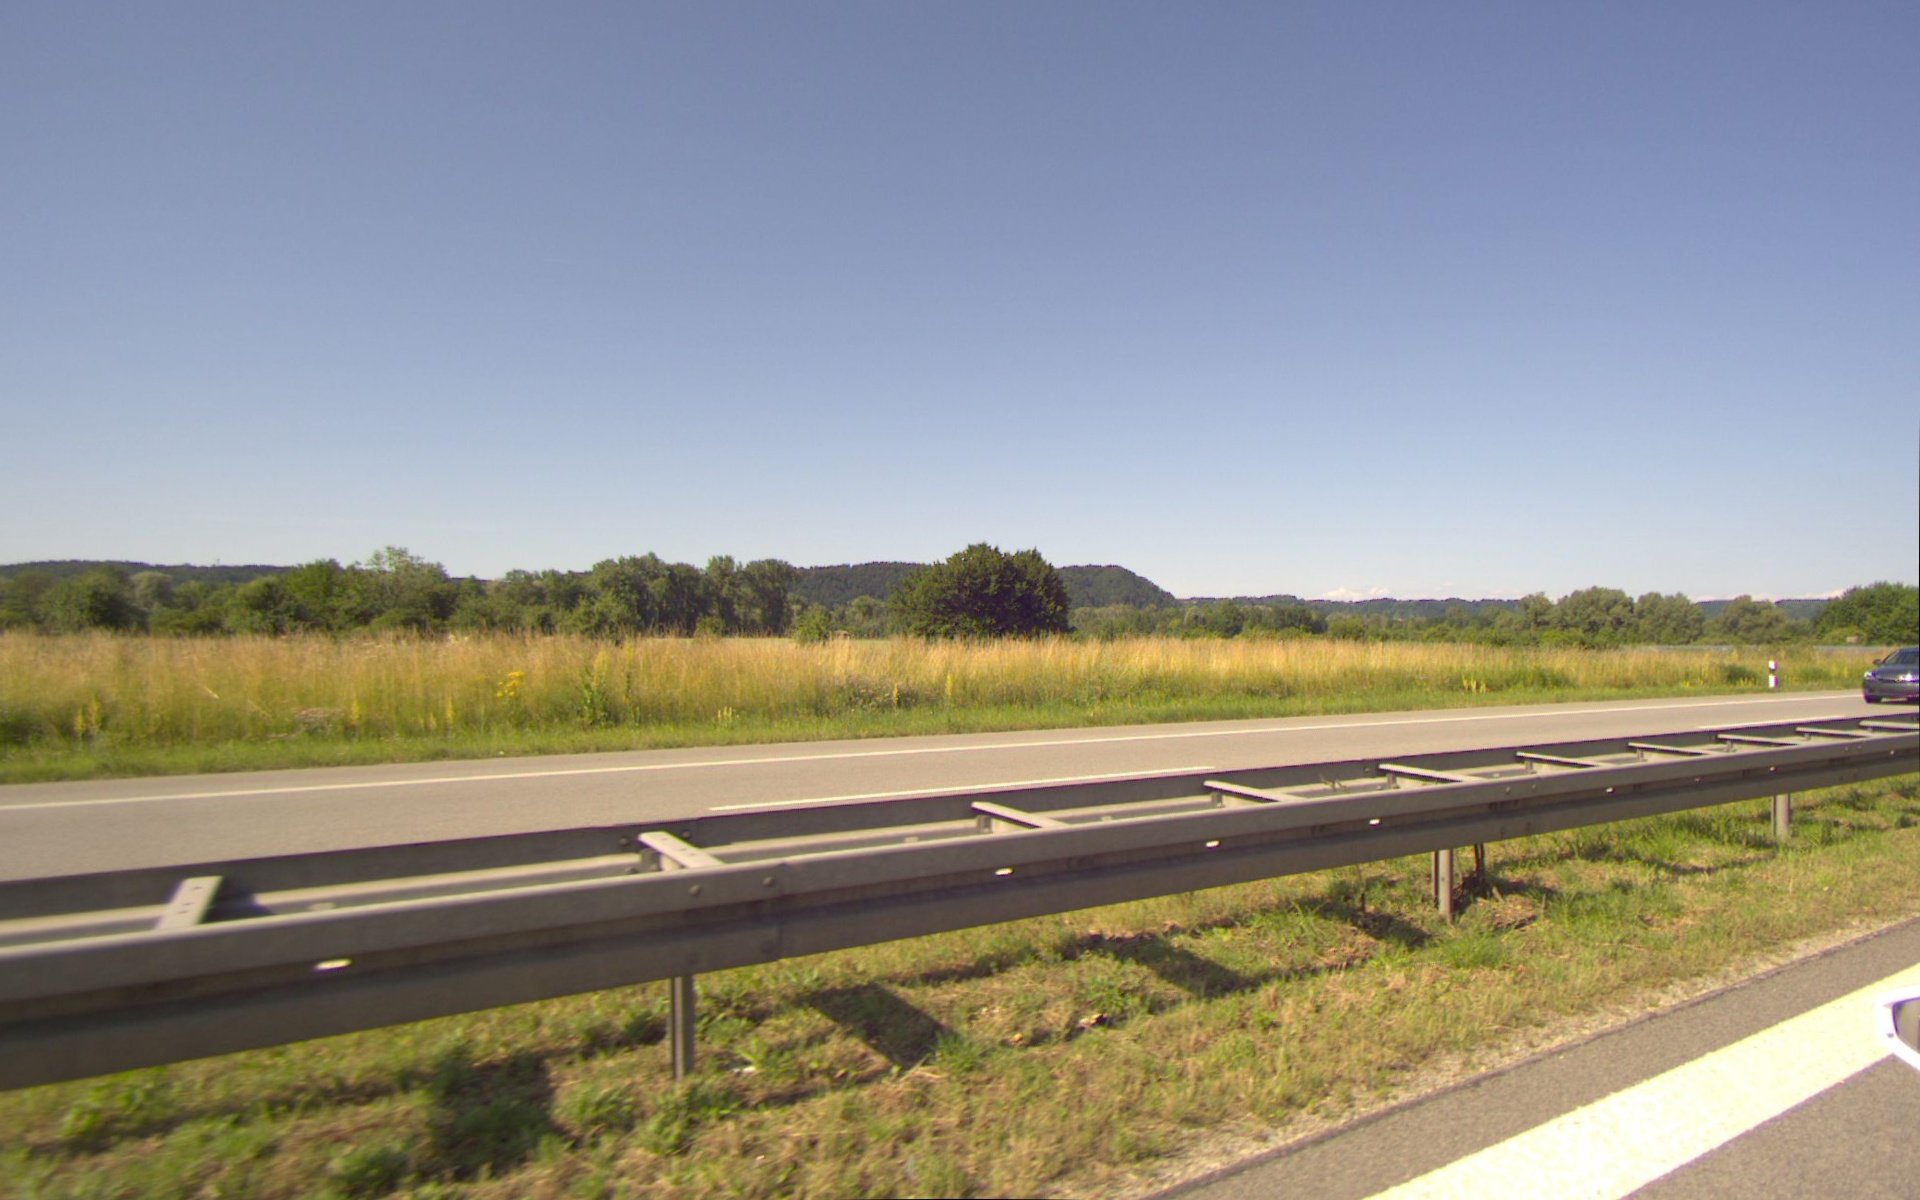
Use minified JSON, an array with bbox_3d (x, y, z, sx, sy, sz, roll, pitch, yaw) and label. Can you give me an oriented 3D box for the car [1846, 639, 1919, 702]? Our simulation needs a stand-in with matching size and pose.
[{"bbox_3d":[24.705,1.749,25.598,4.855,1.505,1.762,1,-2,-30],"label":"car"}]
